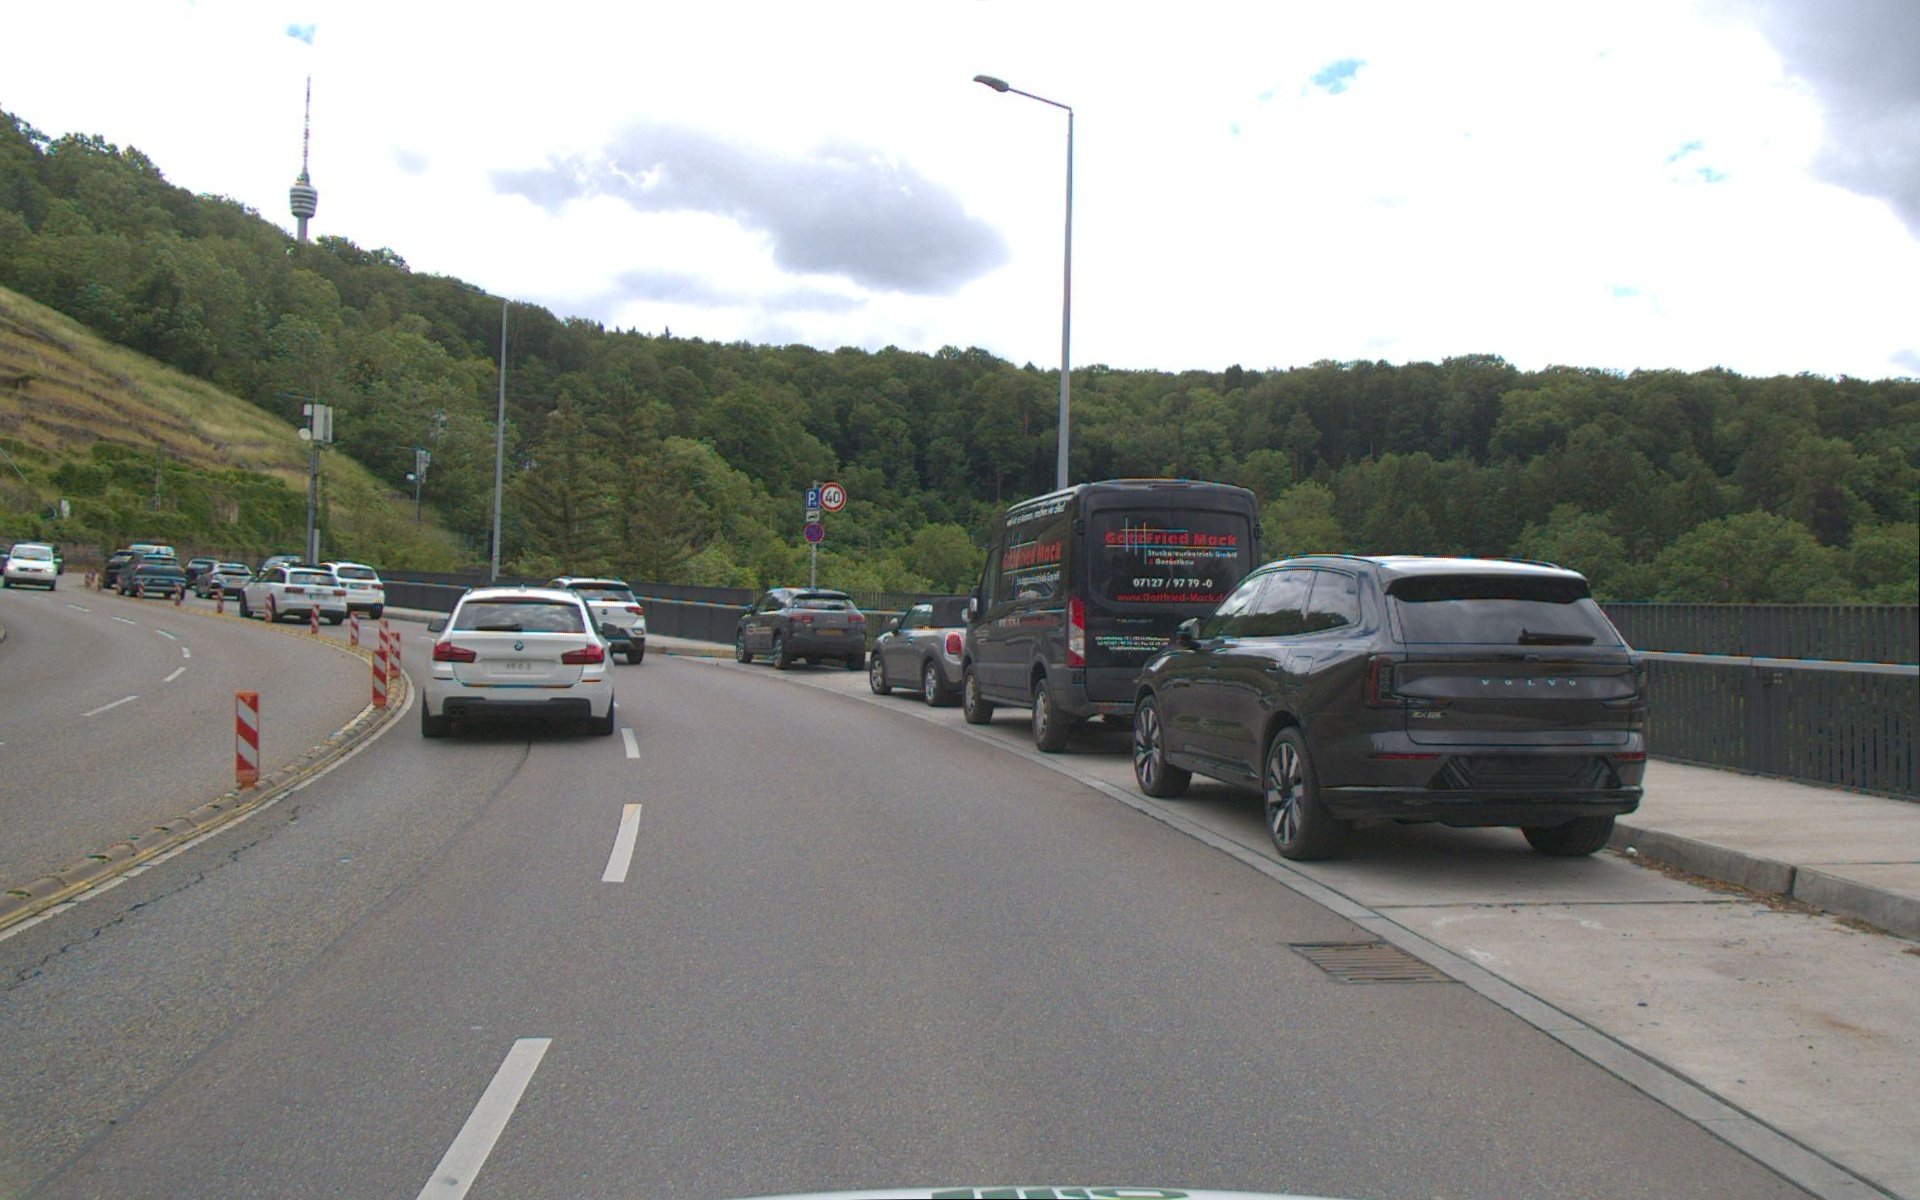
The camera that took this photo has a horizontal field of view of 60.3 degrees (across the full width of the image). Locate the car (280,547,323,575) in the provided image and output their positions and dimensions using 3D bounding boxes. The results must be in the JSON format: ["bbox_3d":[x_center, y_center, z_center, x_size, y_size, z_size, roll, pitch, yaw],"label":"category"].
[{"bbox_3d":[-49.414,-2.889,124.104,1.833,1.793,3.995,1,-3,-4],"label":"car"}]

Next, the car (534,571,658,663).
[{"bbox_3d":[-7.102,0.332,32.022,1.801,1.634,3.975,-1,-1,-21],"label":"car"}]

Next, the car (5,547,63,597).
[{"bbox_3d":[-33.221,-1.032,59.347,1.683,1.575,3.962,4,1,-29],"label":"car"}]

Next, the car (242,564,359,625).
[{"bbox_3d":[-18.053,-0.136,45.146,1.977,1.529,4.609,-1,-1,-35],"label":"car"}]

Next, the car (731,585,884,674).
[{"bbox_3d":[-3.042,0.523,32.162,1.848,1.570,4.062,2,0,-22],"label":"car"}]

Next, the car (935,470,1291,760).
[{"bbox_3d":[1.372,0.090,17.766,2.129,2.565,5.753,-1,1,-12],"label":"car"}]

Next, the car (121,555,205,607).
[{"bbox_3d":[-28.504,-0.659,59.123,1.979,1.677,3.947,-1,-1,-37],"label":"car"}]

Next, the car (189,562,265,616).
[{"bbox_3d":[-28.780,-0.403,64.914,1.978,2.049,3.949,0,-1,-36],"label":"car"}]

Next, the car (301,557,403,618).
[{"bbox_3d":[-19.000,-0.362,51.576,1.978,1.748,4.061,-1,-1,-36],"label":"car"}]

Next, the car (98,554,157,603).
[{"bbox_3d":[-35.171,-0.876,69.845,1.851,1.793,3.956,3,-4,-32],"label":"car"}]

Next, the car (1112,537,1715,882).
[{"bbox_3d":[2.614,0.568,11.076,1.957,1.748,5.037,0,0,-10],"label":"car"}]

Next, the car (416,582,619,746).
[{"bbox_3d":[-4.617,0.581,17.582,1.796,1.485,4.471,1,1,-13],"label":"car"}]

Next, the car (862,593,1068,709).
[{"bbox_3d":[-0.021,0.655,23.240,1.689,1.456,3.828,1,0,-20],"label":"car"}]
